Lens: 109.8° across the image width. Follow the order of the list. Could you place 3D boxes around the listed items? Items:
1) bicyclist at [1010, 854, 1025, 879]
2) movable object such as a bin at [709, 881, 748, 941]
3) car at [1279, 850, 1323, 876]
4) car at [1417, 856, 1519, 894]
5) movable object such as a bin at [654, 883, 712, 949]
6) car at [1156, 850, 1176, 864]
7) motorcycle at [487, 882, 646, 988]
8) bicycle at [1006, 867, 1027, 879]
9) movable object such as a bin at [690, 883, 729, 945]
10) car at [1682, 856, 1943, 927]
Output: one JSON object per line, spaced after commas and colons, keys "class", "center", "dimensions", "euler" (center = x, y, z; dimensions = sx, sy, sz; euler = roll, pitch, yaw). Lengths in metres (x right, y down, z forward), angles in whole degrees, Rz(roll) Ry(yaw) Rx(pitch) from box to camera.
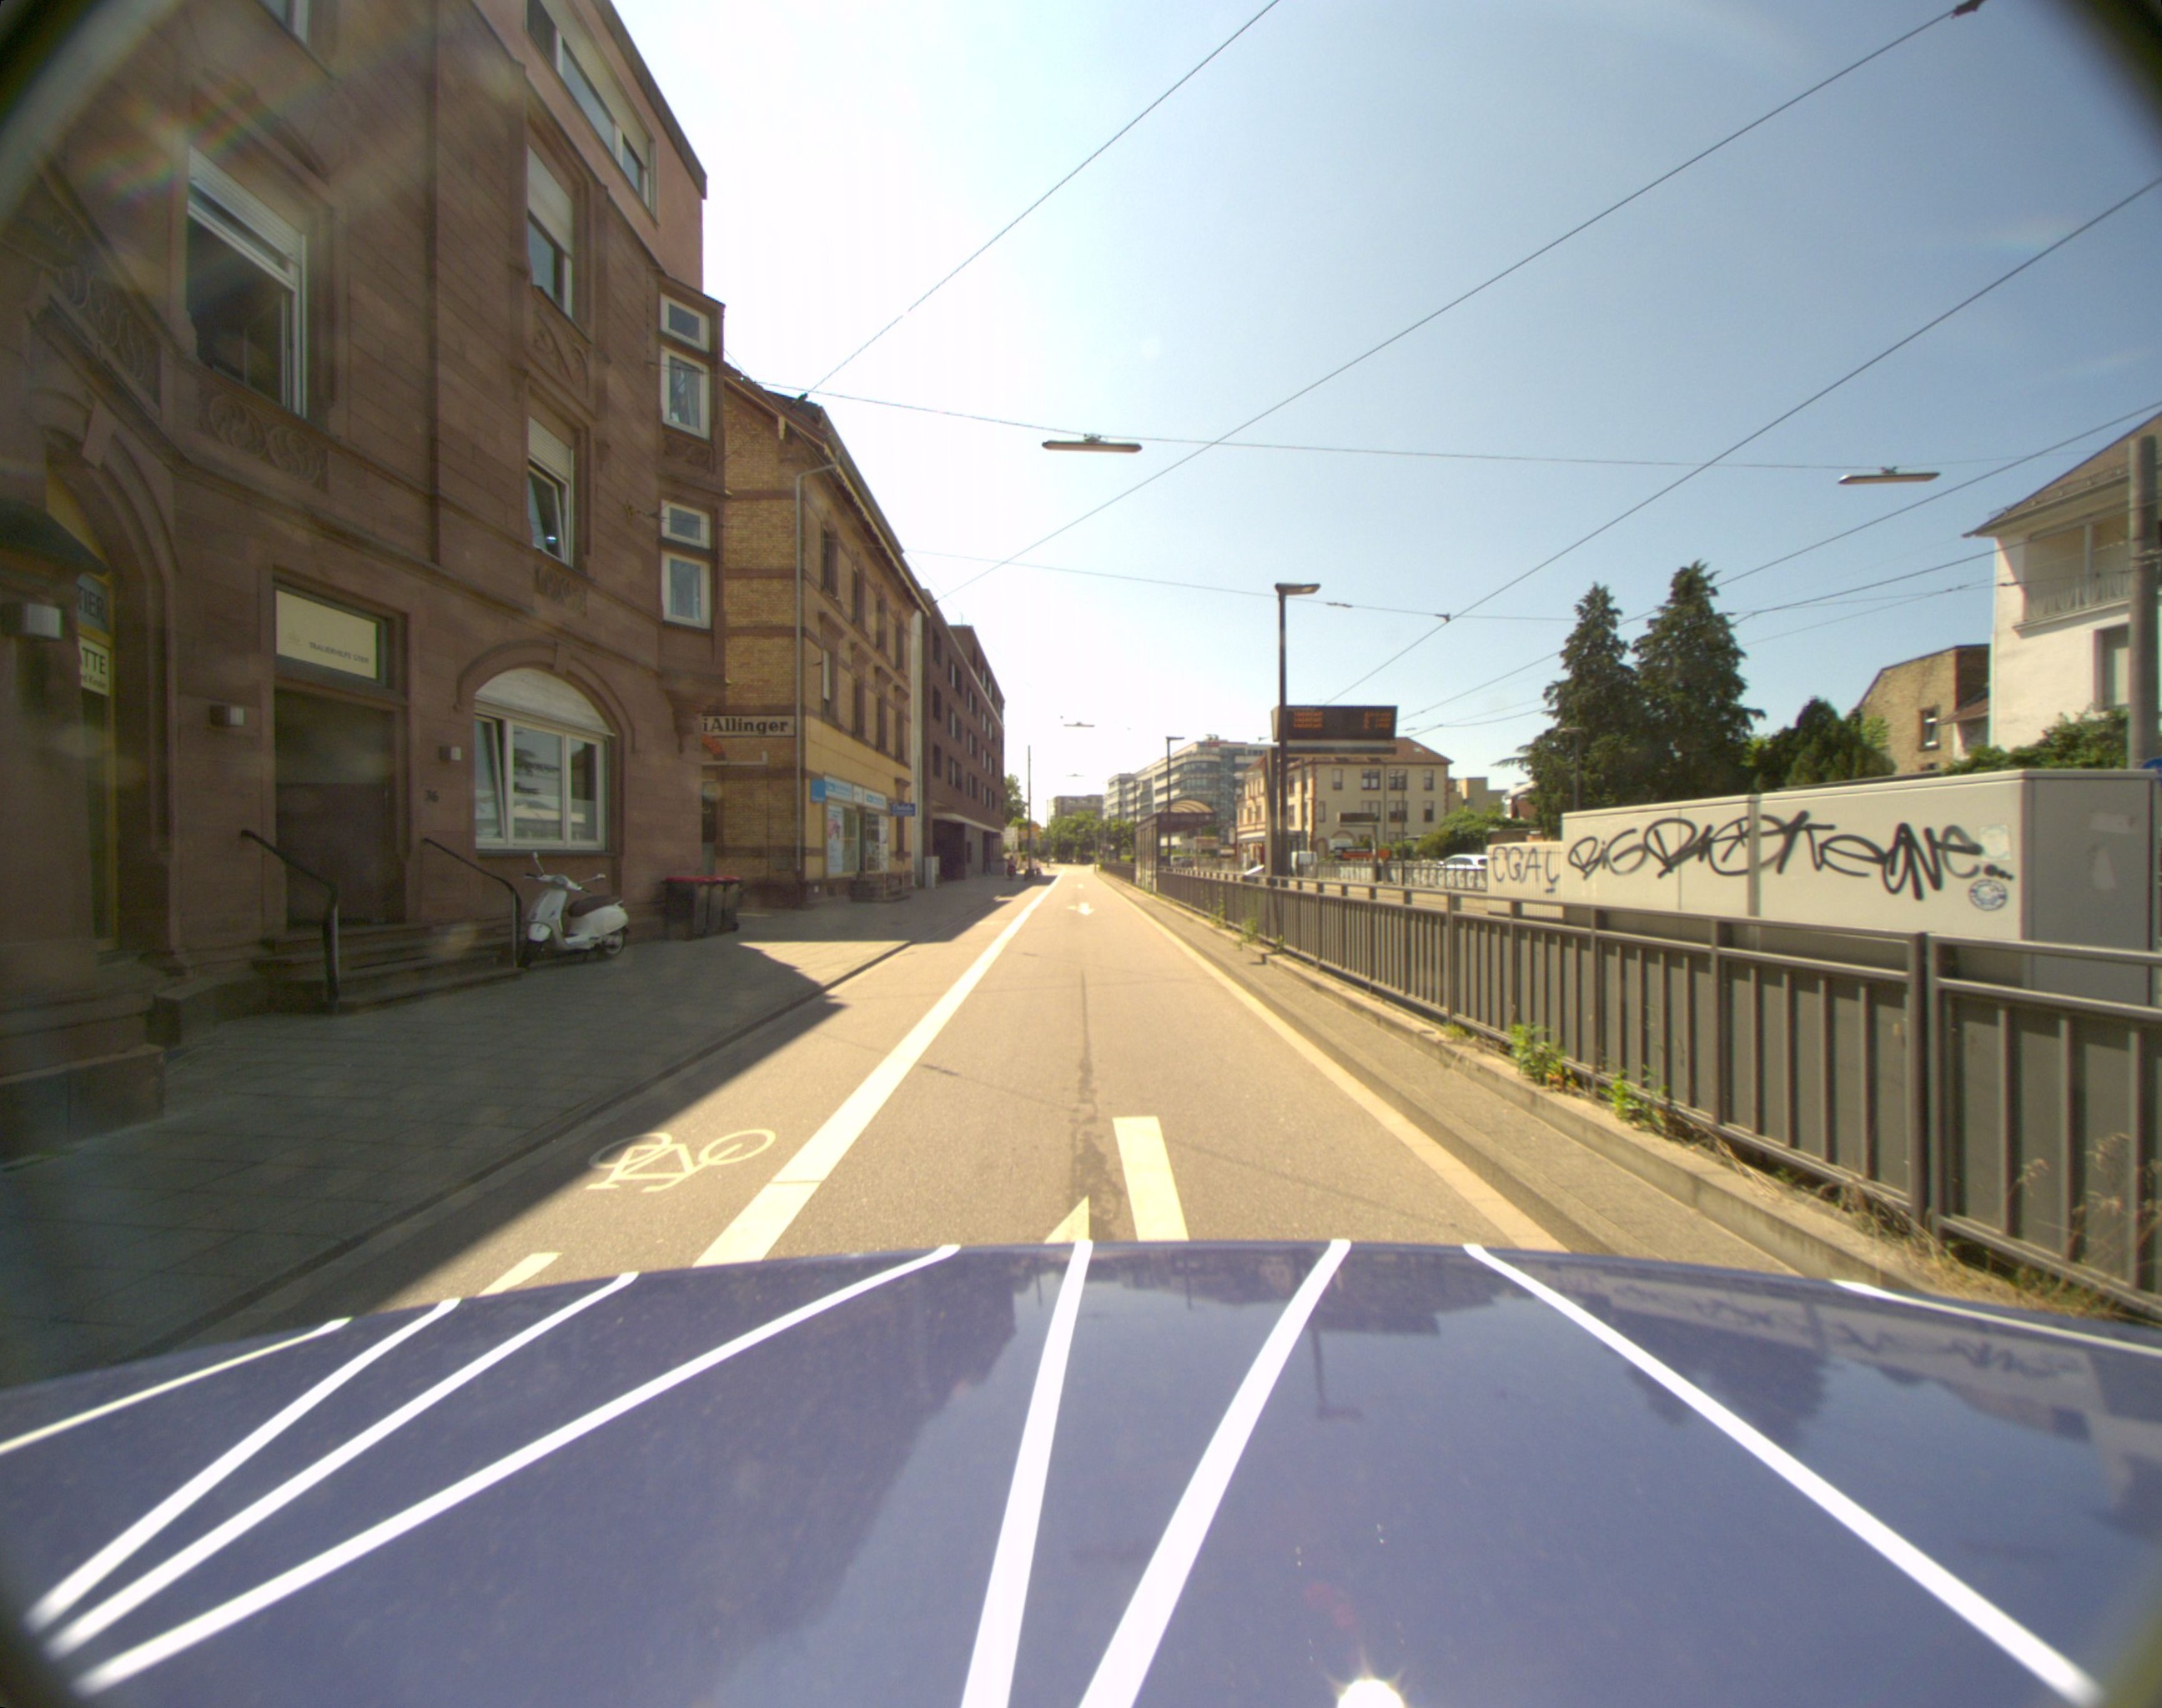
{"class": "bicyclist", "center": [-4.431, 0.876, 53.225], "dimensions": [0.670, 1.712, 0.930], "euler": [0, 1, 22]}
{"class": "movable object such as a bin", "center": [-6.461, 1.037, 13.947], "dimensions": [0.376, 1.042, 0.657], "euler": [2, 0, 0]}
{"class": "car", "center": [16.340, 0.629, 56.576], "dimensions": [1.860, 1.806, 4.697], "euler": [0, 0, -1]}
{"class": "car", "center": [16.263, 0.854, 32.222], "dimensions": [1.823, 1.459, 4.622], "euler": [0, 0, -2]}
{"class": "movable object such as a bin", "center": [-6.681, 1.029, 12.778], "dimensions": [0.649, 1.042, 0.559], "euler": [2, 1, -1]}
{"class": "car", "center": [11.677, 0.404, 104.433], "dimensions": [1.999, 1.827, 3.998], "euler": [-1, 0, -5]}
{"class": "motorcycle", "center": [-6.436, 0.962, 9.641], "dimensions": [0.527, 1.142, 1.881], "euler": [0, 0, 8]}
{"class": "bicycle", "center": [-4.496, 1.305, 53.036], "dimensions": [0.688, 0.793, 1.911], "euler": [0, 0, 23]}
{"class": "movable object such as a bin", "center": [-6.521, 1.047, 13.355], "dimensions": [0.376, 1.042, 0.559], "euler": [2, 1, 0]}
{"class": "car", "center": [16.290, 0.764, 17.291], "dimensions": [1.823, 1.387, 4.174], "euler": [0, 0, -2]}
